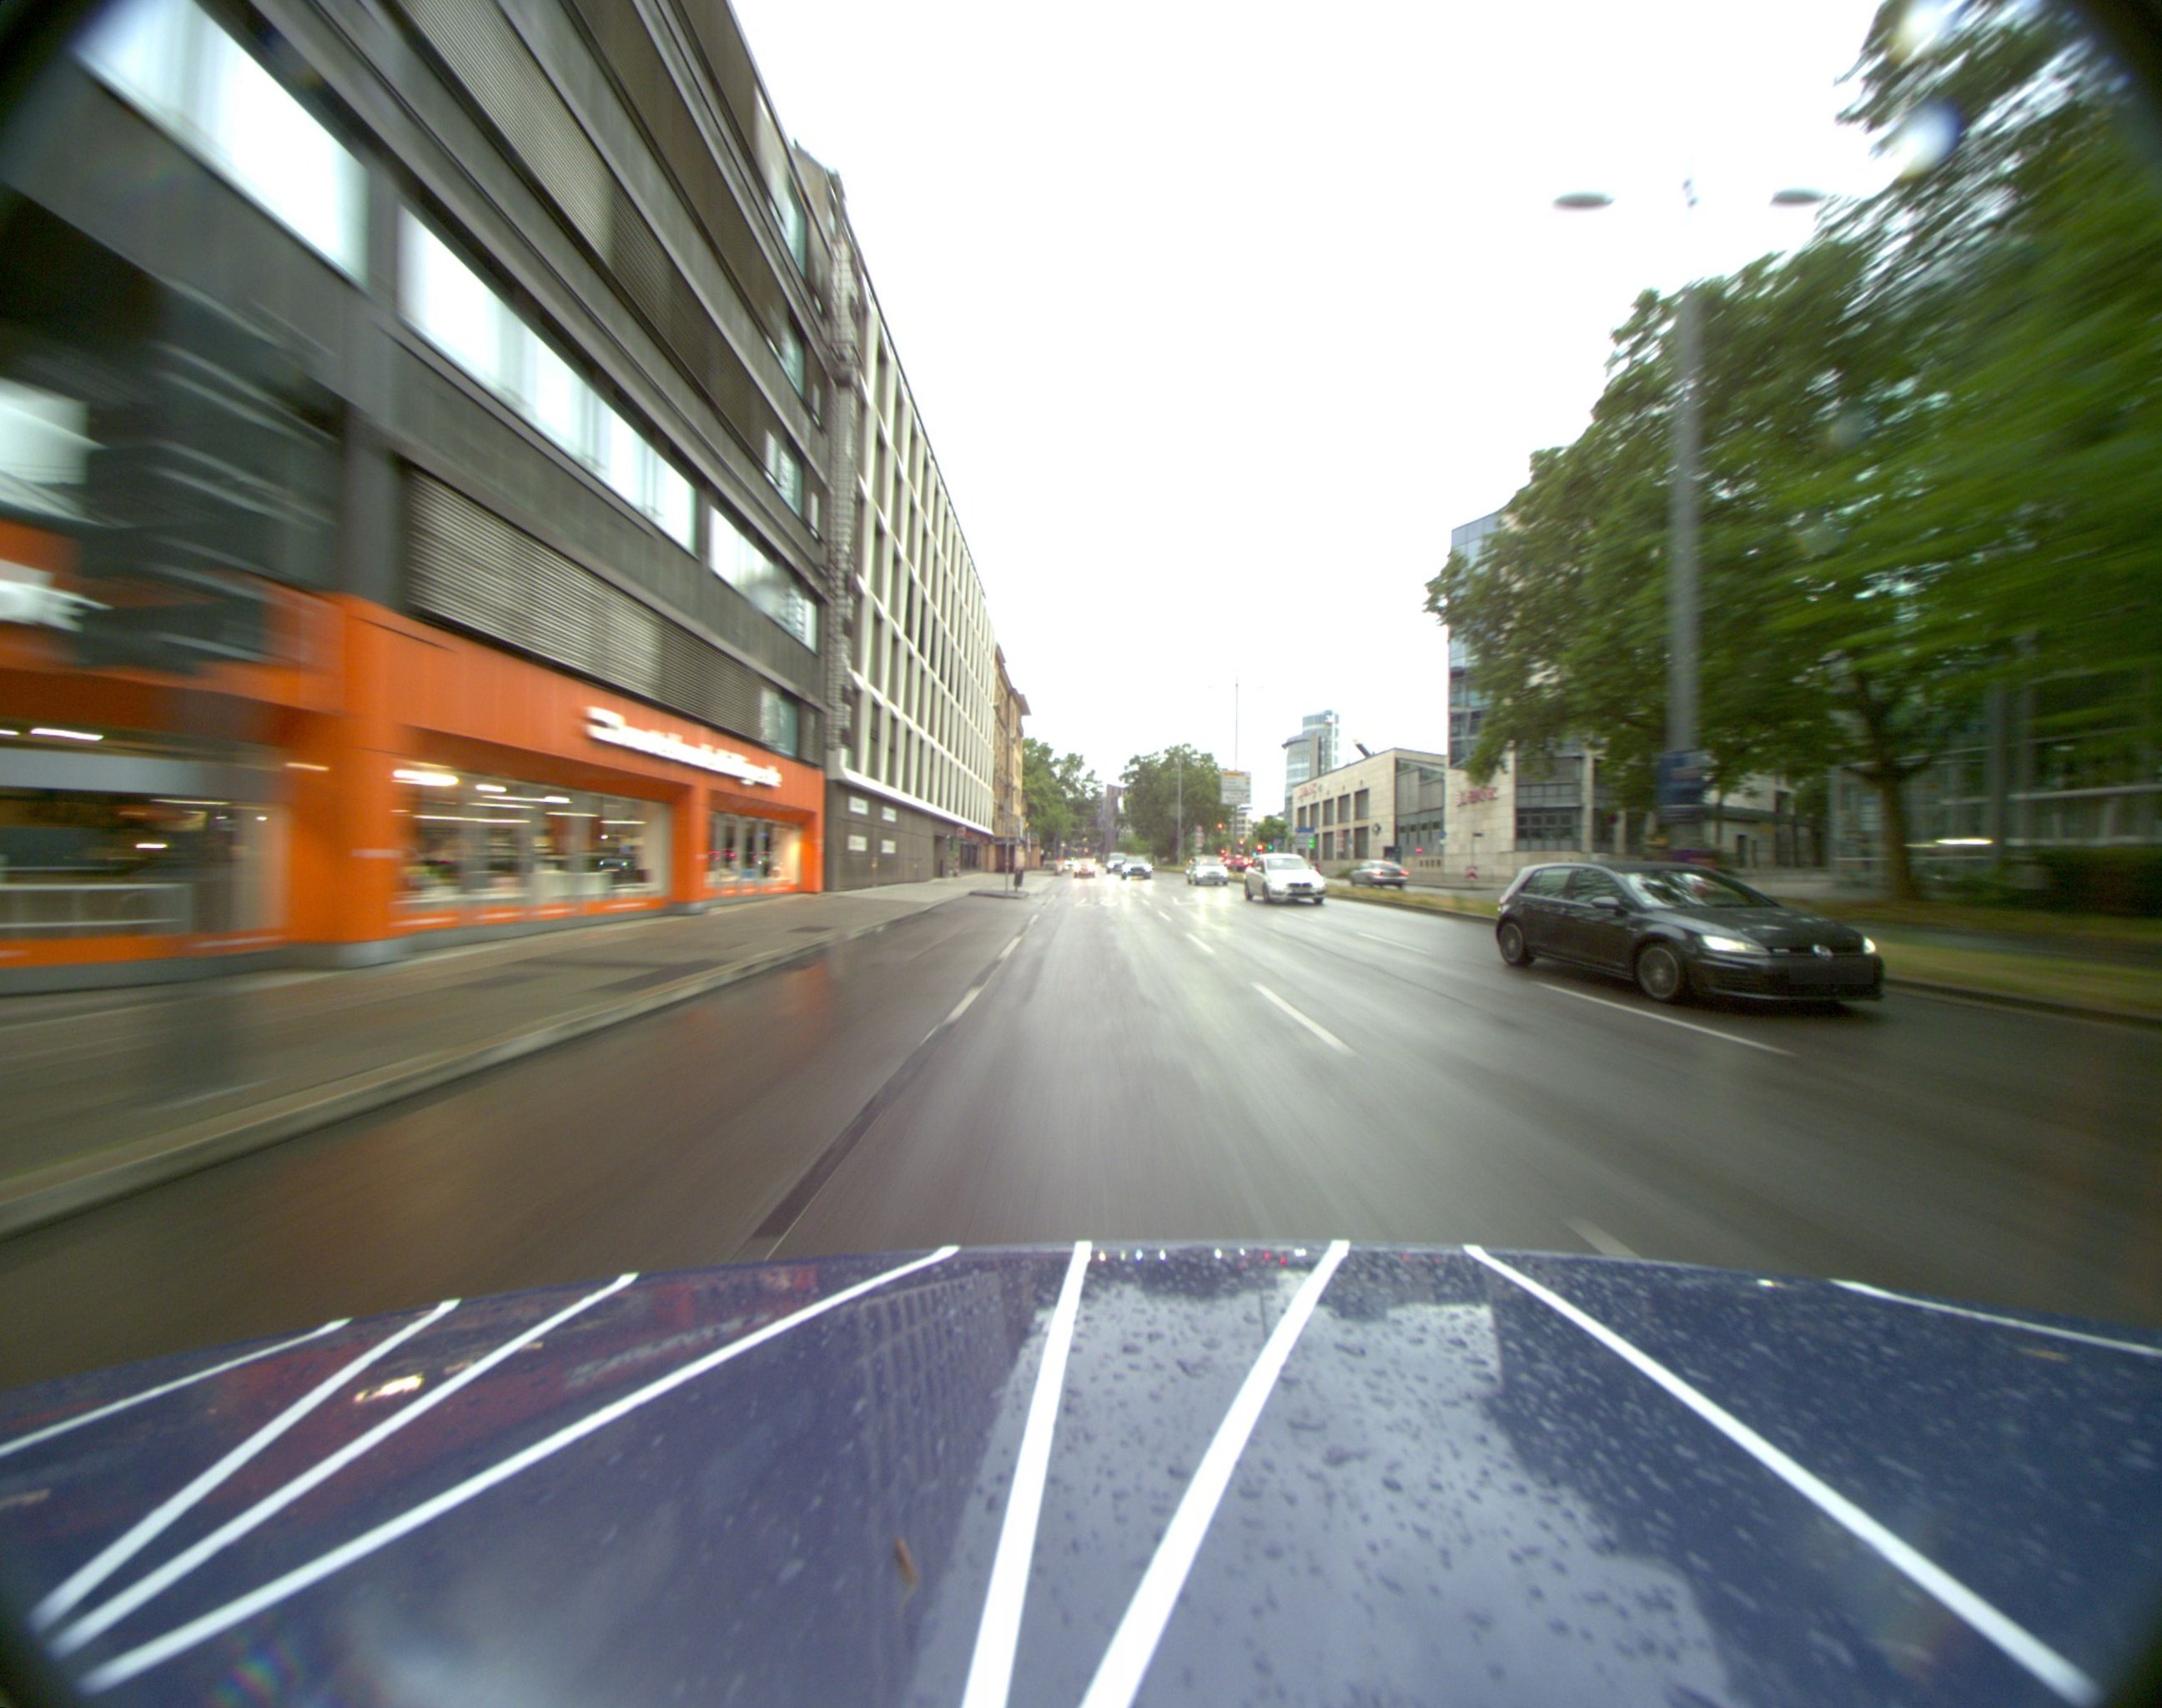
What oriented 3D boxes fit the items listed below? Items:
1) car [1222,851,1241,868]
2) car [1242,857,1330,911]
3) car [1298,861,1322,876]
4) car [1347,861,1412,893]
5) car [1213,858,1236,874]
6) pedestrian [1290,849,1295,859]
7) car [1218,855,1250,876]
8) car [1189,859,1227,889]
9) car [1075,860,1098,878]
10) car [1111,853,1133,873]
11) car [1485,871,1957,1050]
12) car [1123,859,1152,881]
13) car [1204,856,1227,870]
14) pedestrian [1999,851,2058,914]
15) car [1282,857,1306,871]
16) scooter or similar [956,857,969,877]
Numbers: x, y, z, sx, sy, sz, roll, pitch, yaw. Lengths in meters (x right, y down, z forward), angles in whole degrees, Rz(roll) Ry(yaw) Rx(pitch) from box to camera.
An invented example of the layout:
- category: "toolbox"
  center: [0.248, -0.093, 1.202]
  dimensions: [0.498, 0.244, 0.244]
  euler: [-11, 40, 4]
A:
- category: "car"
  center: [18.940, 0.706, 95.763]
  dimensions: [1.835, 1.990, 5.105]
  euler: [1, 1, 5]
- category: "car"
  center: [6.613, 0.914, 24.923]
  dimensions: [1.781, 1.587, 3.999]
  euler: [0, 1, 0]
- category: "car"
  center: [22.632, 1.397, 75.185]
  dimensions: [1.595, 1.407, 3.402]
  euler: [0, 1, 5]
- category: "car"
  center: [15.669, 1.178, 40.140]
  dimensions: [1.666, 1.455, 4.080]
  euler: [2, 0, -2]
- category: "car"
  center: [13.873, 1.139, 73.739]
  dimensions: [1.600, 1.352, 4.117]
  euler: [0, 1, 3]
- category: "pedestrian"
  center: [37.663, -0.007, 135.447]
  dimensions: [0.589, 1.913, 1.125]
  euler: [-1, 0, 0]
- category: "car"
  center: [13.356, 0.969, 66.615]
  dimensions: [1.878, 1.670, 4.680]
  euler: [0, 1, 0]
- category: "car"
  center: [6.732, 1.033, 40.493]
  dimensions: [1.611, 1.433, 3.495]
  euler: [-2, 0, 4]
- category: "car"
  center: [0.402, 1.142, 59.232]
  dimensions: [1.716, 1.274, 3.494]
  euler: [1, 0, 0]
- category: "car"
  center: [3.710, 0.797, 69.280]
  dimensions: [1.998, 1.733, 3.910]
  euler: [0, 0, 2]
- category: "car"
  center: [6.662, 0.969, 8.658]
  dimensions: [1.789, 1.444, 4.122]
  euler: [0, 0, -3]
- category: "car"
  center: [3.895, 1.111, 52.927]
  dimensions: [1.716, 1.432, 3.494]
  euler: [1, 0, 0]
- category: "car"
  center: [14.440, 0.941, 81.621]
  dimensions: [1.704, 1.429, 4.581]
  euler: [0, 1, 0]
- category: "pedestrian"
  center: [27.501, 0.818, 22.065]
  dimensions: [0.736, 1.797, 0.802]
  euler: [0, 0, 1]
- category: "car"
  center: [24.458, 1.130, 87.361]
  dimensions: [1.751, 1.407, 4.706]
  euler: [0, 1, 5]
- category: "scooter or similar"
  center: [-7.449, 0.819, 47.742]
  dimensions: [0.412, 1.229, 1.190]
  euler: [0, 0, 9]
